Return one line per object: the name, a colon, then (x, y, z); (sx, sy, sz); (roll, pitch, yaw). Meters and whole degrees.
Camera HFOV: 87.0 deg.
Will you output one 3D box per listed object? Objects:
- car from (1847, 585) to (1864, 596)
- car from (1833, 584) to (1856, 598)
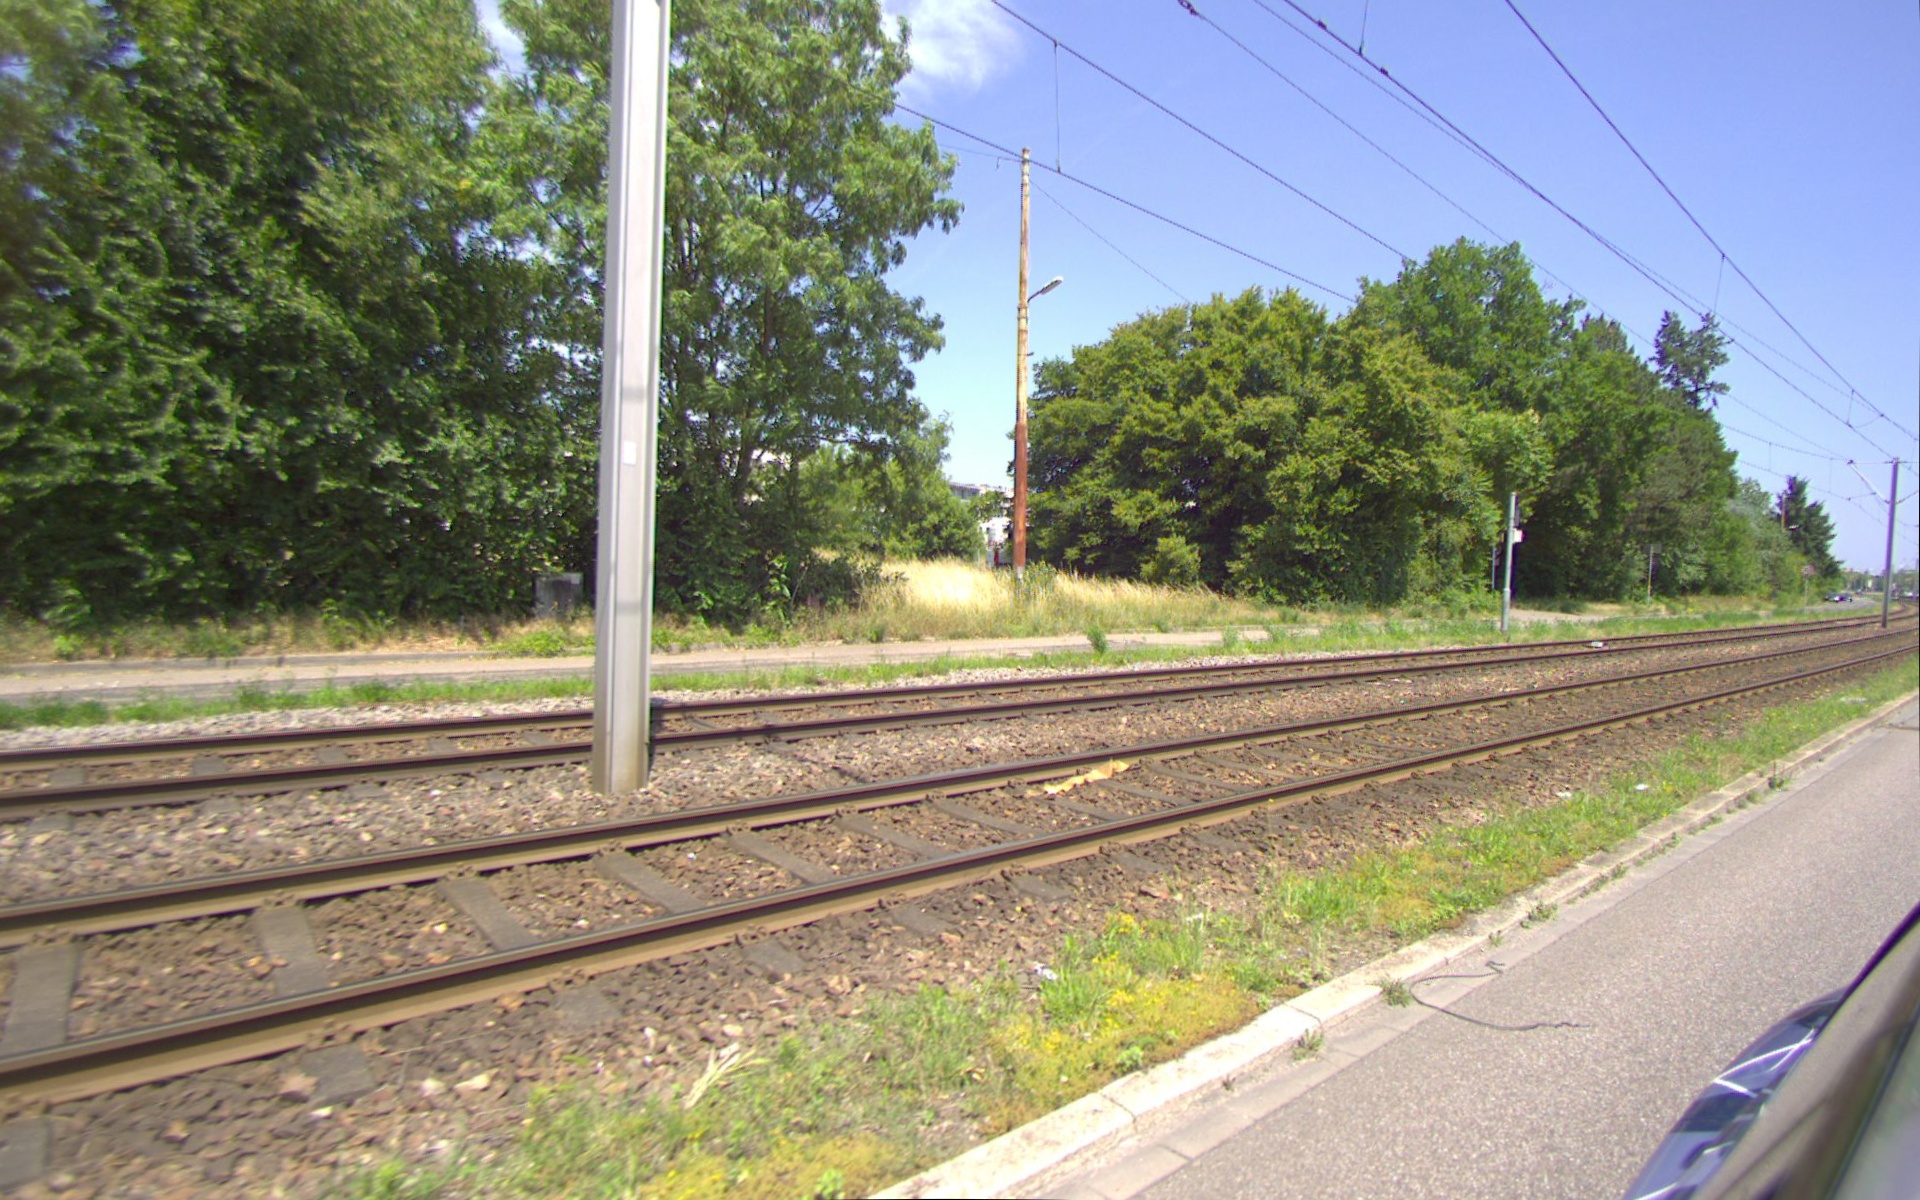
car: (141.371, -1.470, 159.789); (1.940, 1.716, 3.939); (0, 1, 43)
car: (119.305, -1.231, 136.515); (3.934, 1.742, 1.995); (-1, 1, -44)
